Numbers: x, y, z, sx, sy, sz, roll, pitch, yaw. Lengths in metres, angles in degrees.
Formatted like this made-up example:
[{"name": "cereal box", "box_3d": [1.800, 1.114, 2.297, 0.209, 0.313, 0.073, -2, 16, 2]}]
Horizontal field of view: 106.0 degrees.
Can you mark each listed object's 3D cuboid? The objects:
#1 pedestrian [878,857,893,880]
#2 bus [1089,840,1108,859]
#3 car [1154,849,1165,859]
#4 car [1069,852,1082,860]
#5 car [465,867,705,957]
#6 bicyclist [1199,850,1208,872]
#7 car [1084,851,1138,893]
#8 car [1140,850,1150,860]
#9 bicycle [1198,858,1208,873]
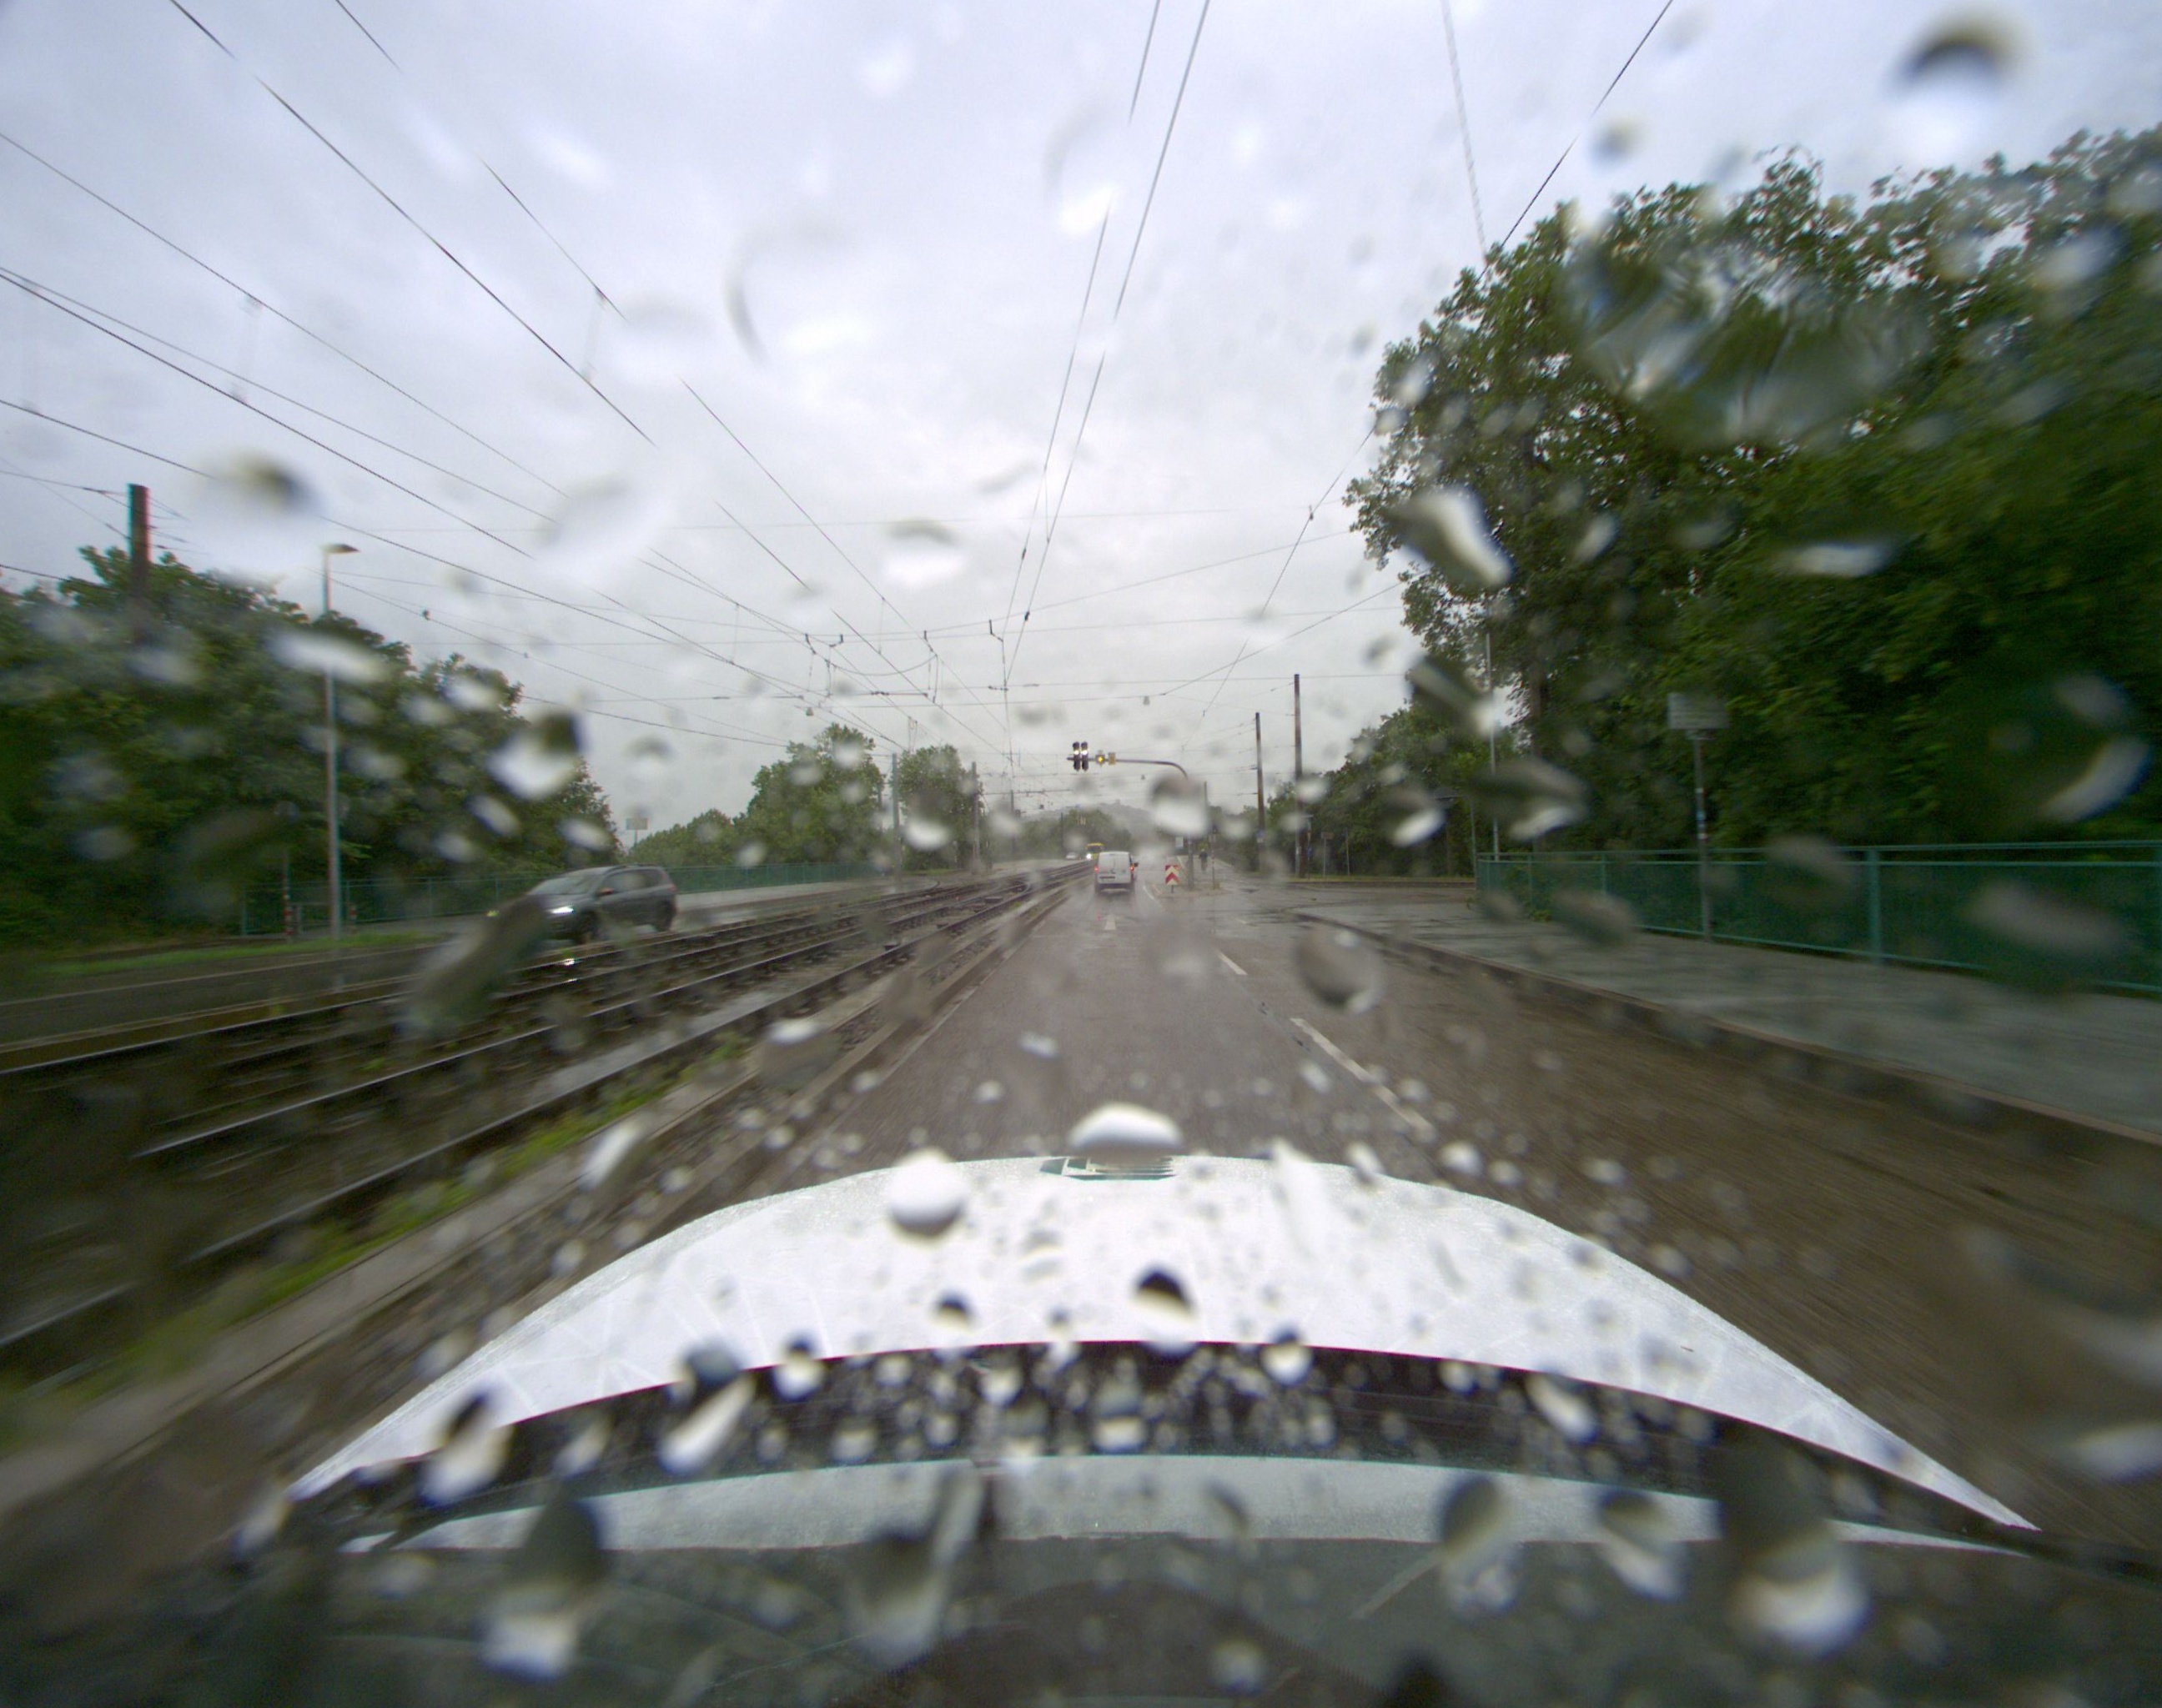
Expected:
[{"name": "pedestrian", "box_3d": [-15.437, 1.129, 64.307, 0.860, 1.819, 1.044, 0, -1, 4]}, {"name": "bus", "box_3d": [3.609, -0.905, 163.420, 2.695, 3.340, 11.012, -3, 1, 6]}, {"name": "car", "box_3d": [11.137, 0.016, 115.995, 1.445, 1.499, 2.983, 0, -1, 2]}, {"name": "car", "box_3d": [-1.093, 0.407, 152.373, 1.925, 1.231, 4.107, -3, 1, 6]}, {"name": "car", "box_3d": [-10.791, 1.161, 18.351, 1.986, 1.649, 5.373, 0, 0, 1]}, {"name": "bicyclist", "box_3d": [9.757, 0.588, 64.916, 0.722, 1.764, 0.951, 0, -1, 6]}, {"name": "car", "box_3d": [1.387, 0.774, 35.929, 1.982, 1.726, 4.009, 0, -1, 8]}, {"name": "car", "box_3d": [10.060, 0.176, 127.924, 1.445, 1.499, 2.983, 0, -1, 2]}, {"name": "bicycle", "box_3d": [9.749, 0.908, 64.978, 0.719, 1.129, 2.171, 0, 0, 6]}]
